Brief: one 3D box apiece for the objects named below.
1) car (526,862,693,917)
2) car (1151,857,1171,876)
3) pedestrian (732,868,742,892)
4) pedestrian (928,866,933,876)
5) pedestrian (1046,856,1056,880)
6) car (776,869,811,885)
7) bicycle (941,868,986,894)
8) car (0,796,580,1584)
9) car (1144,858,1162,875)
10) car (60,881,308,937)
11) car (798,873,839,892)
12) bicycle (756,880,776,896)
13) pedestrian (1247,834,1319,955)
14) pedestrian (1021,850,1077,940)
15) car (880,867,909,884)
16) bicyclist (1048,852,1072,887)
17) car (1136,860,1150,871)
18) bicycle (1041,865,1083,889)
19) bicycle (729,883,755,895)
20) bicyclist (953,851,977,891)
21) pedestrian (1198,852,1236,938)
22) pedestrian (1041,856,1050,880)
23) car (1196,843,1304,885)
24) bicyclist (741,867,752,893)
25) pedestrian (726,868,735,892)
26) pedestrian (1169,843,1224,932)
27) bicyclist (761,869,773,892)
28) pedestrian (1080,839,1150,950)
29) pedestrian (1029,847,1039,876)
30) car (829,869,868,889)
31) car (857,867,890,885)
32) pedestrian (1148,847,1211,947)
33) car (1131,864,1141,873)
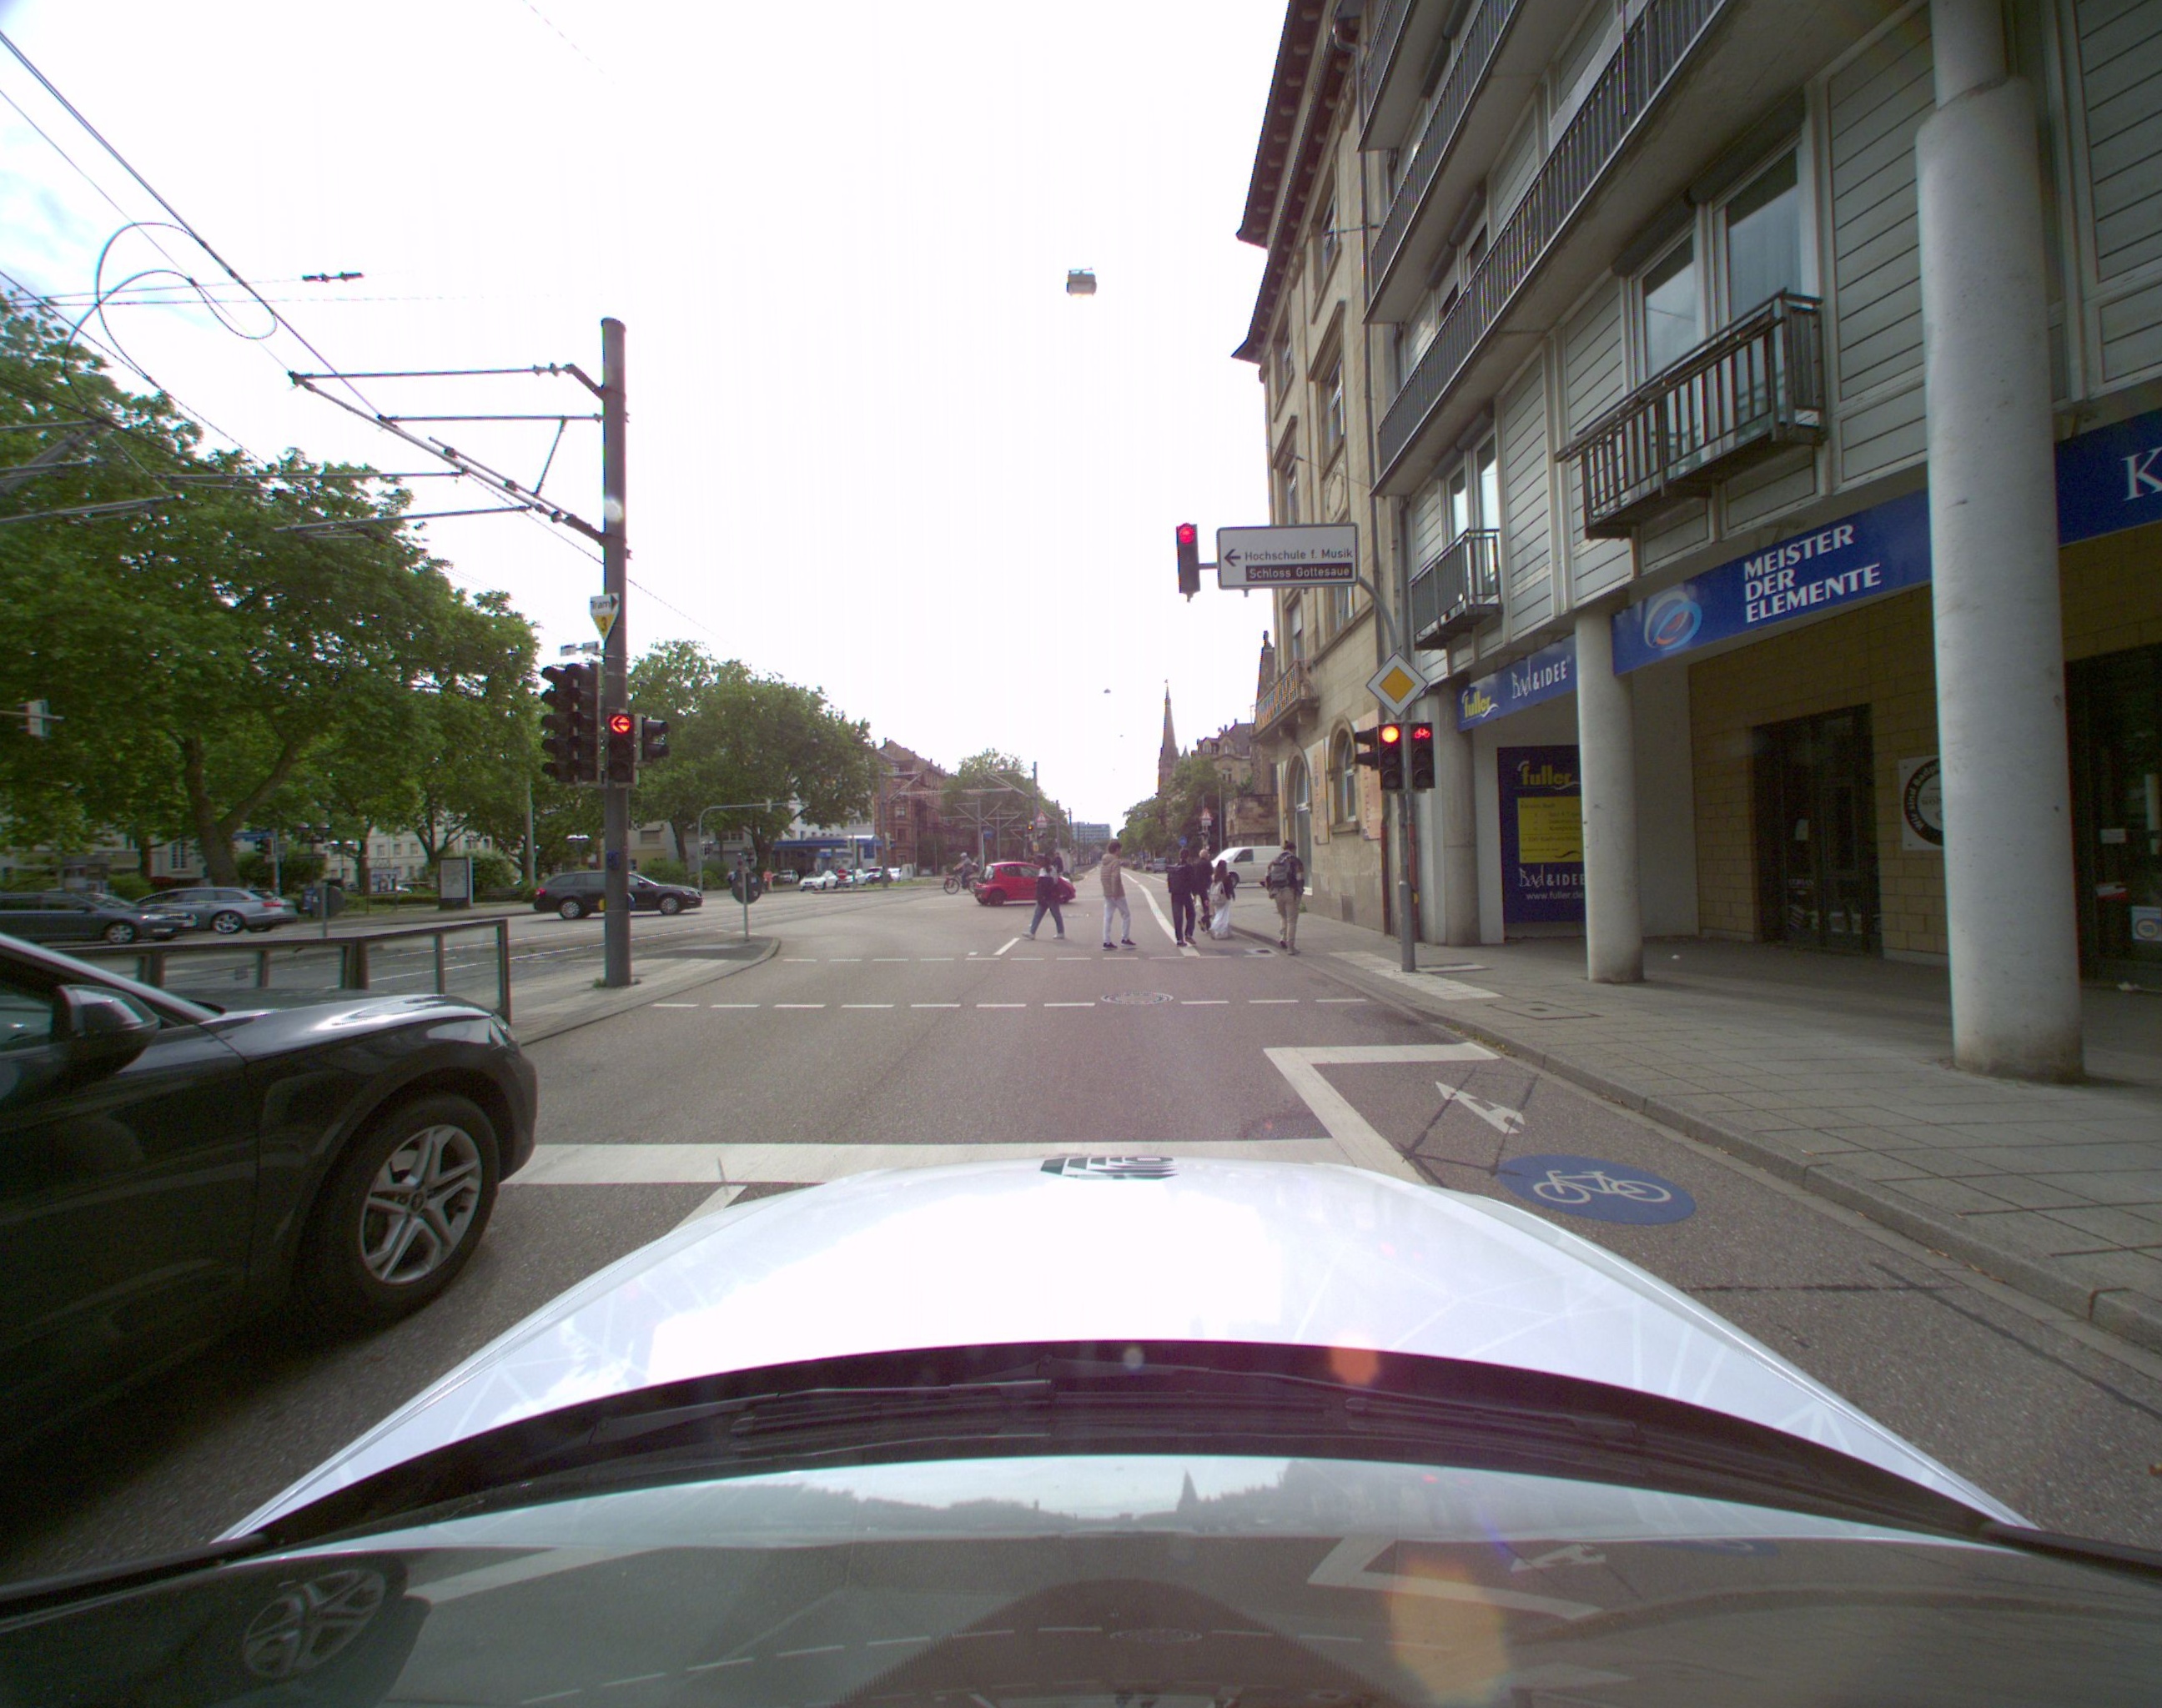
[{"bbox_3d":[-14.605,1.058,25.527,4.346,1.586,1.797,0,-1,-24],"label":"car"},{"bbox_3d":[8.812,1.384,90.089,1.986,2.014,4.001,0,-1,1],"label":"car"},{"bbox_3d":[-25.039,1.894,59.267,0.370,1.784,0.555,-1,-1,28],"label":"pedestrian"},{"bbox_3d":[-21.756,2.434,117.915,0.528,1.460,0.447,0,-1,-36],"label":"pedestrian"},{"bbox_3d":[-1.923,0.887,52.046,0.651,1.537,0.465,0,-1,-3],"label":"pedestrian"},{"bbox_3d":[-28.742,2.234,81.431,1.986,1.530,4.001,0,-1,2],"label":"car"},{"bbox_3d":[-5.353,1.202,37.154,1.910,1.142,0.623,0,-1,-28],"label":"bicycle"},{"bbox_3d":[-3.148,0.692,1.341,1.873,1.601,4.358,-1,-1,1],"label":"car"},{"bbox_3d":[8.833,1.496,99.733,1.986,2.014,4.001,0,-1,1],"label":"car"},{"bbox_3d":[-27.148,1.628,24.887,4.733,1.510,1.826,0,-1,-20],"label":"car"},{"bbox_3d":[-19.190,2.075,59.635,1.628,1.325,4.001,0,-1,2],"label":"car"},{"bbox_3d":[-21.477,2.303,55.568,0.520,1.017,1.937,0,-1,2],"label":"bicycle"},{"bbox_3d":[3.147,0.600,12.641,0.620,1.779,1.141,-2,-2,39],"label":"pedestrian"},{"bbox_3d":[-0.609,0.773,15.695,0.663,1.680,0.874,-1,-1,40],"label":"pedestrian"},{"bbox_3d":[-18.298,2.083,79.917,1.887,1.557,3.837,0,-1,2],"label":"car"},{"bbox_3d":[-1.032,0.754,39.609,1.041,1.683,0.641,0,-1,-19],"label":"bicyclist"},{"bbox_3d":[9.733,1.753,128.543,1.986,1.607,4.165,-3,-1,1],"label":"car"},{"bbox_3d":[-0.936,1.117,39.625,1.943,1.136,0.731,0,-1,-19],"label":"bicycle"},{"bbox_3d":[-22.951,2.341,55.114,1.665,0.773,0.659,-1,-1,22],"label":"bicycle"},{"bbox_3d":[-5.312,0.766,37.186,0.970,1.819,0.527,0,-1,-27],"label":"bicyclist"},{"bbox_3d":[2.622,0.767,15.653,0.696,1.593,0.833,0,-1,10],"label":"pedestrian"},{"bbox_3d":[-2.280,0.886,52.549,0.544,1.537,0.465,0,-1,-3],"label":"pedestrian"},{"bbox_3d":[8.129,0.470,39.229,4.886,1.967,1.973,0,-1,-24],"label":"car"},{"bbox_3d":[-22.625,1.763,55.077,0.528,1.784,0.472,-1,-1,21],"label":"bicyclist"},{"bbox_3d":[-25.487,1.894,59.240,0.370,1.784,0.452,-1,-1,34],"label":"pedestrian"},{"bbox_3d":[2.397,0.677,16.925,0.906,1.784,0.651,-1,-1,39],"label":"pedestrian"},{"bbox_3d":[-21.539,1.794,55.893,0.585,1.568,0.619,0,-1,1],"label":"bicyclist"},{"bbox_3d":[0.568,0.659,13.725,1.015,1.813,0.580,0,-1,-22],"label":"pedestrian"},{"bbox_3d":[-2.892,0.472,49.932,0.571,1.794,0.518,0,-1,-3],"label":"pedestrian"},{"bbox_3d":[-18.814,1.986,66.044,1.887,1.557,3.837,0,-1,2],"label":"car"},{"bbox_3d":[-18.555,1.941,73.024,1.887,1.557,3.837,0,-1,2],"label":"car"},{"bbox_3d":[1.706,0.718,14.041,0.620,1.653,1.003,-1,-1,39],"label":"pedestrian"},{"bbox_3d":[11.598,3.063,172.383,1.986,2.014,4.001,0,-1,2],"label":"car"}]
